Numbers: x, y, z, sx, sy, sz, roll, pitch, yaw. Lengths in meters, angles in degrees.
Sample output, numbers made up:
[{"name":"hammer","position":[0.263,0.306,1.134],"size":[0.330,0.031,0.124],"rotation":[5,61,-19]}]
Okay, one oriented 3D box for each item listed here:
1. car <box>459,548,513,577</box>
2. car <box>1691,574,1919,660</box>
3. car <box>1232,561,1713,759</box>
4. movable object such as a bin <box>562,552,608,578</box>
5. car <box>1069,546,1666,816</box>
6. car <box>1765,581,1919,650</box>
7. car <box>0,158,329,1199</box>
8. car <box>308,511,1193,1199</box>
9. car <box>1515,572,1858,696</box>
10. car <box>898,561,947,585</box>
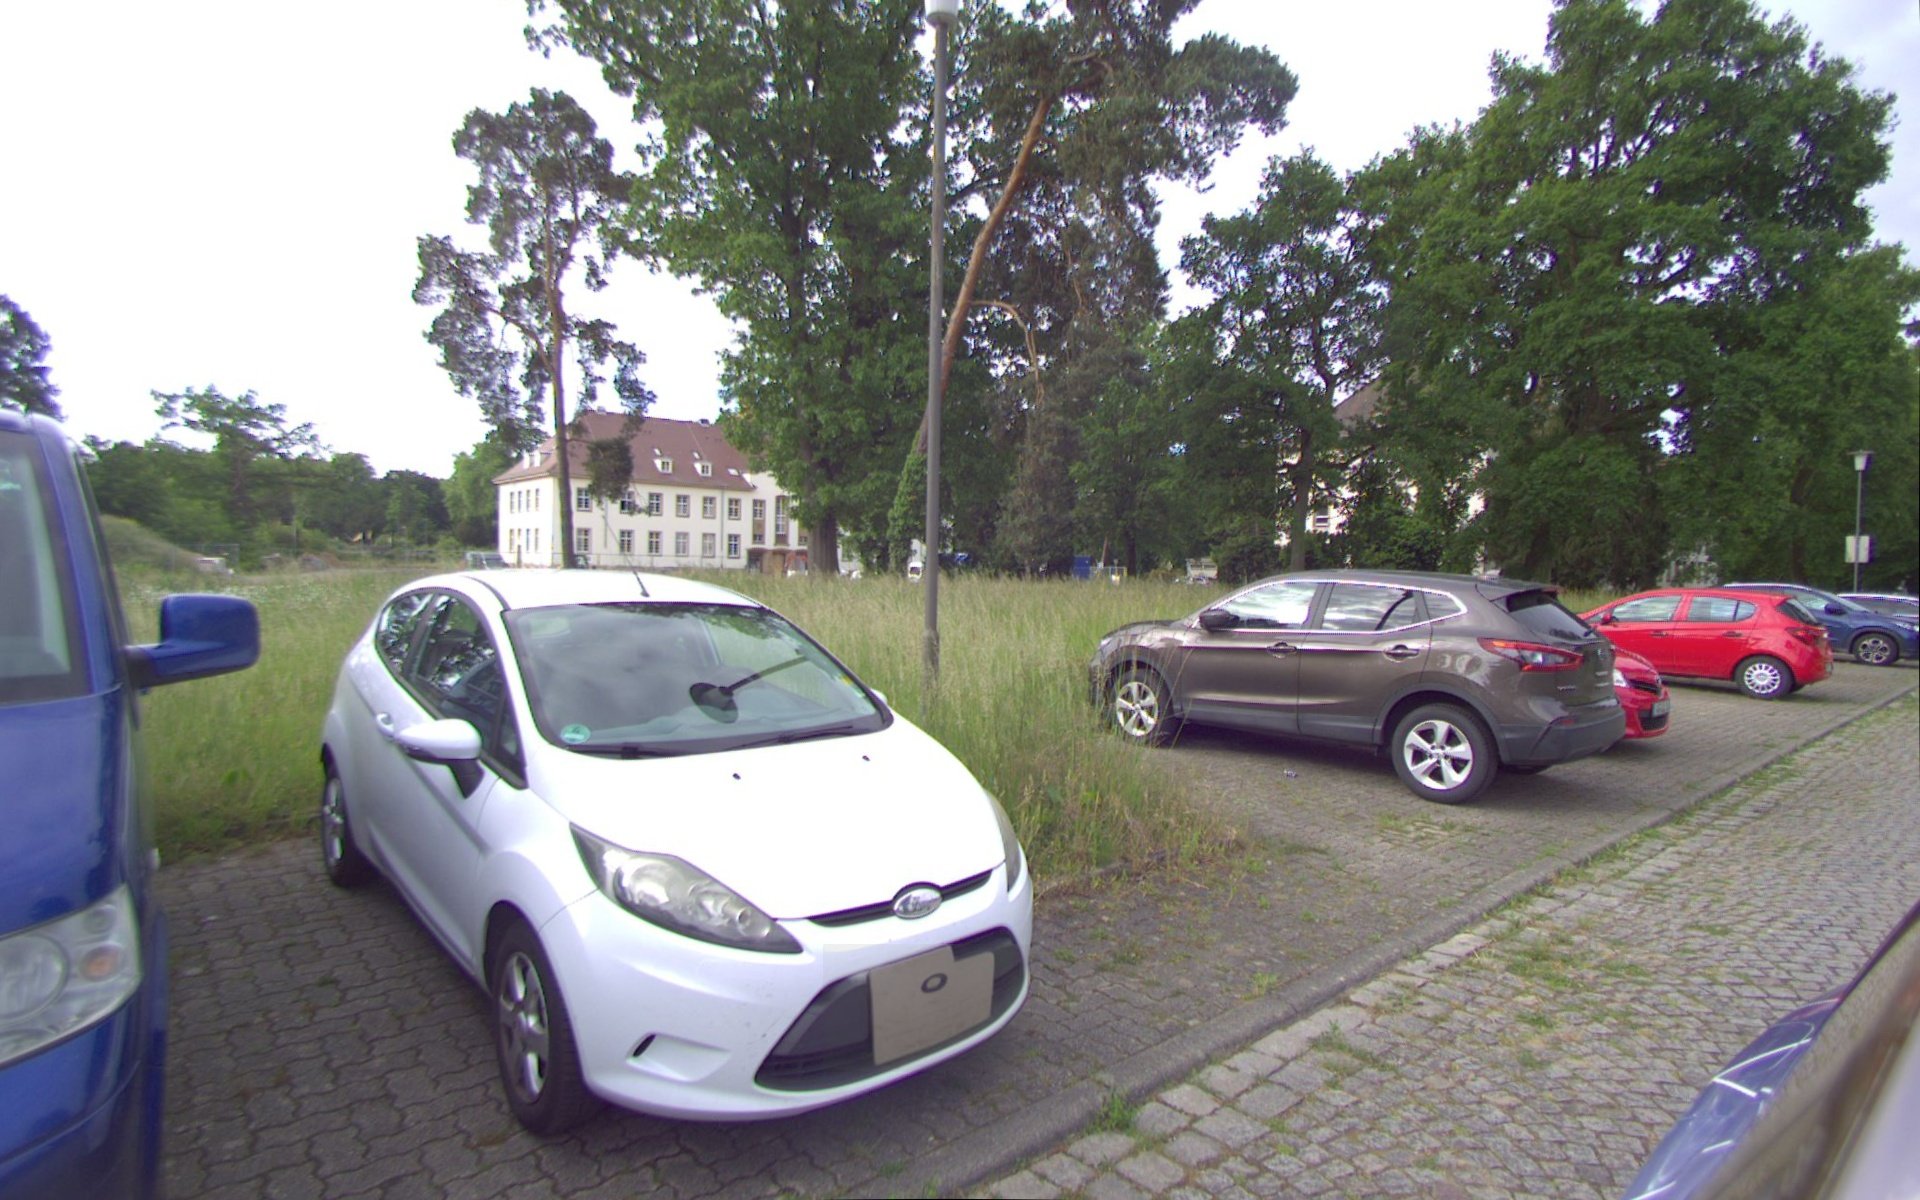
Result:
[{"name":"car","position":[-41.765,-3.325,89.151],"size":[5.849,2.268,2.282],"rotation":[4,3,43]},{"name":"car","position":[18.387,0.303,21.671],"size":[1.555,1.556,4.147],"rotation":[0,3,-41]},{"name":"car","position":[5.028,0.430,10.400],"size":[1.734,1.504,4.016],"rotation":[0,3,-40]},{"name":"movable object such as a bin","position":[-30.007,-2.817,81.081],"size":[3.179,2.038,1.683],"rotation":[0,2,-32]},{"name":"car","position":[3.123,0.415,8.503],"size":[1.791,1.618,4.268],"rotation":[0,3,-41]},{"name":"car","position":[22.054,0.362,24.423],"size":[1.555,1.443,3.875],"rotation":[0,3,-41]},{"name":"car","position":[-3.183,0.340,2.518],"size":[1.969,1.969,4.817],"rotation":[0,4,-41]},{"name":"car","position":[-1.240,0.501,4.119],"size":[1.809,1.489,3.872],"rotation":[0,6,-41]},{"name":"car","position":[10.720,0.397,15.155],"size":[1.555,1.477,3.892],"rotation":[0,3,-41]},{"name":"car","position":[-3.194,-2.348,87.423],"size":[1.994,2.038,3.936],"rotation":[2,2,44]}]
